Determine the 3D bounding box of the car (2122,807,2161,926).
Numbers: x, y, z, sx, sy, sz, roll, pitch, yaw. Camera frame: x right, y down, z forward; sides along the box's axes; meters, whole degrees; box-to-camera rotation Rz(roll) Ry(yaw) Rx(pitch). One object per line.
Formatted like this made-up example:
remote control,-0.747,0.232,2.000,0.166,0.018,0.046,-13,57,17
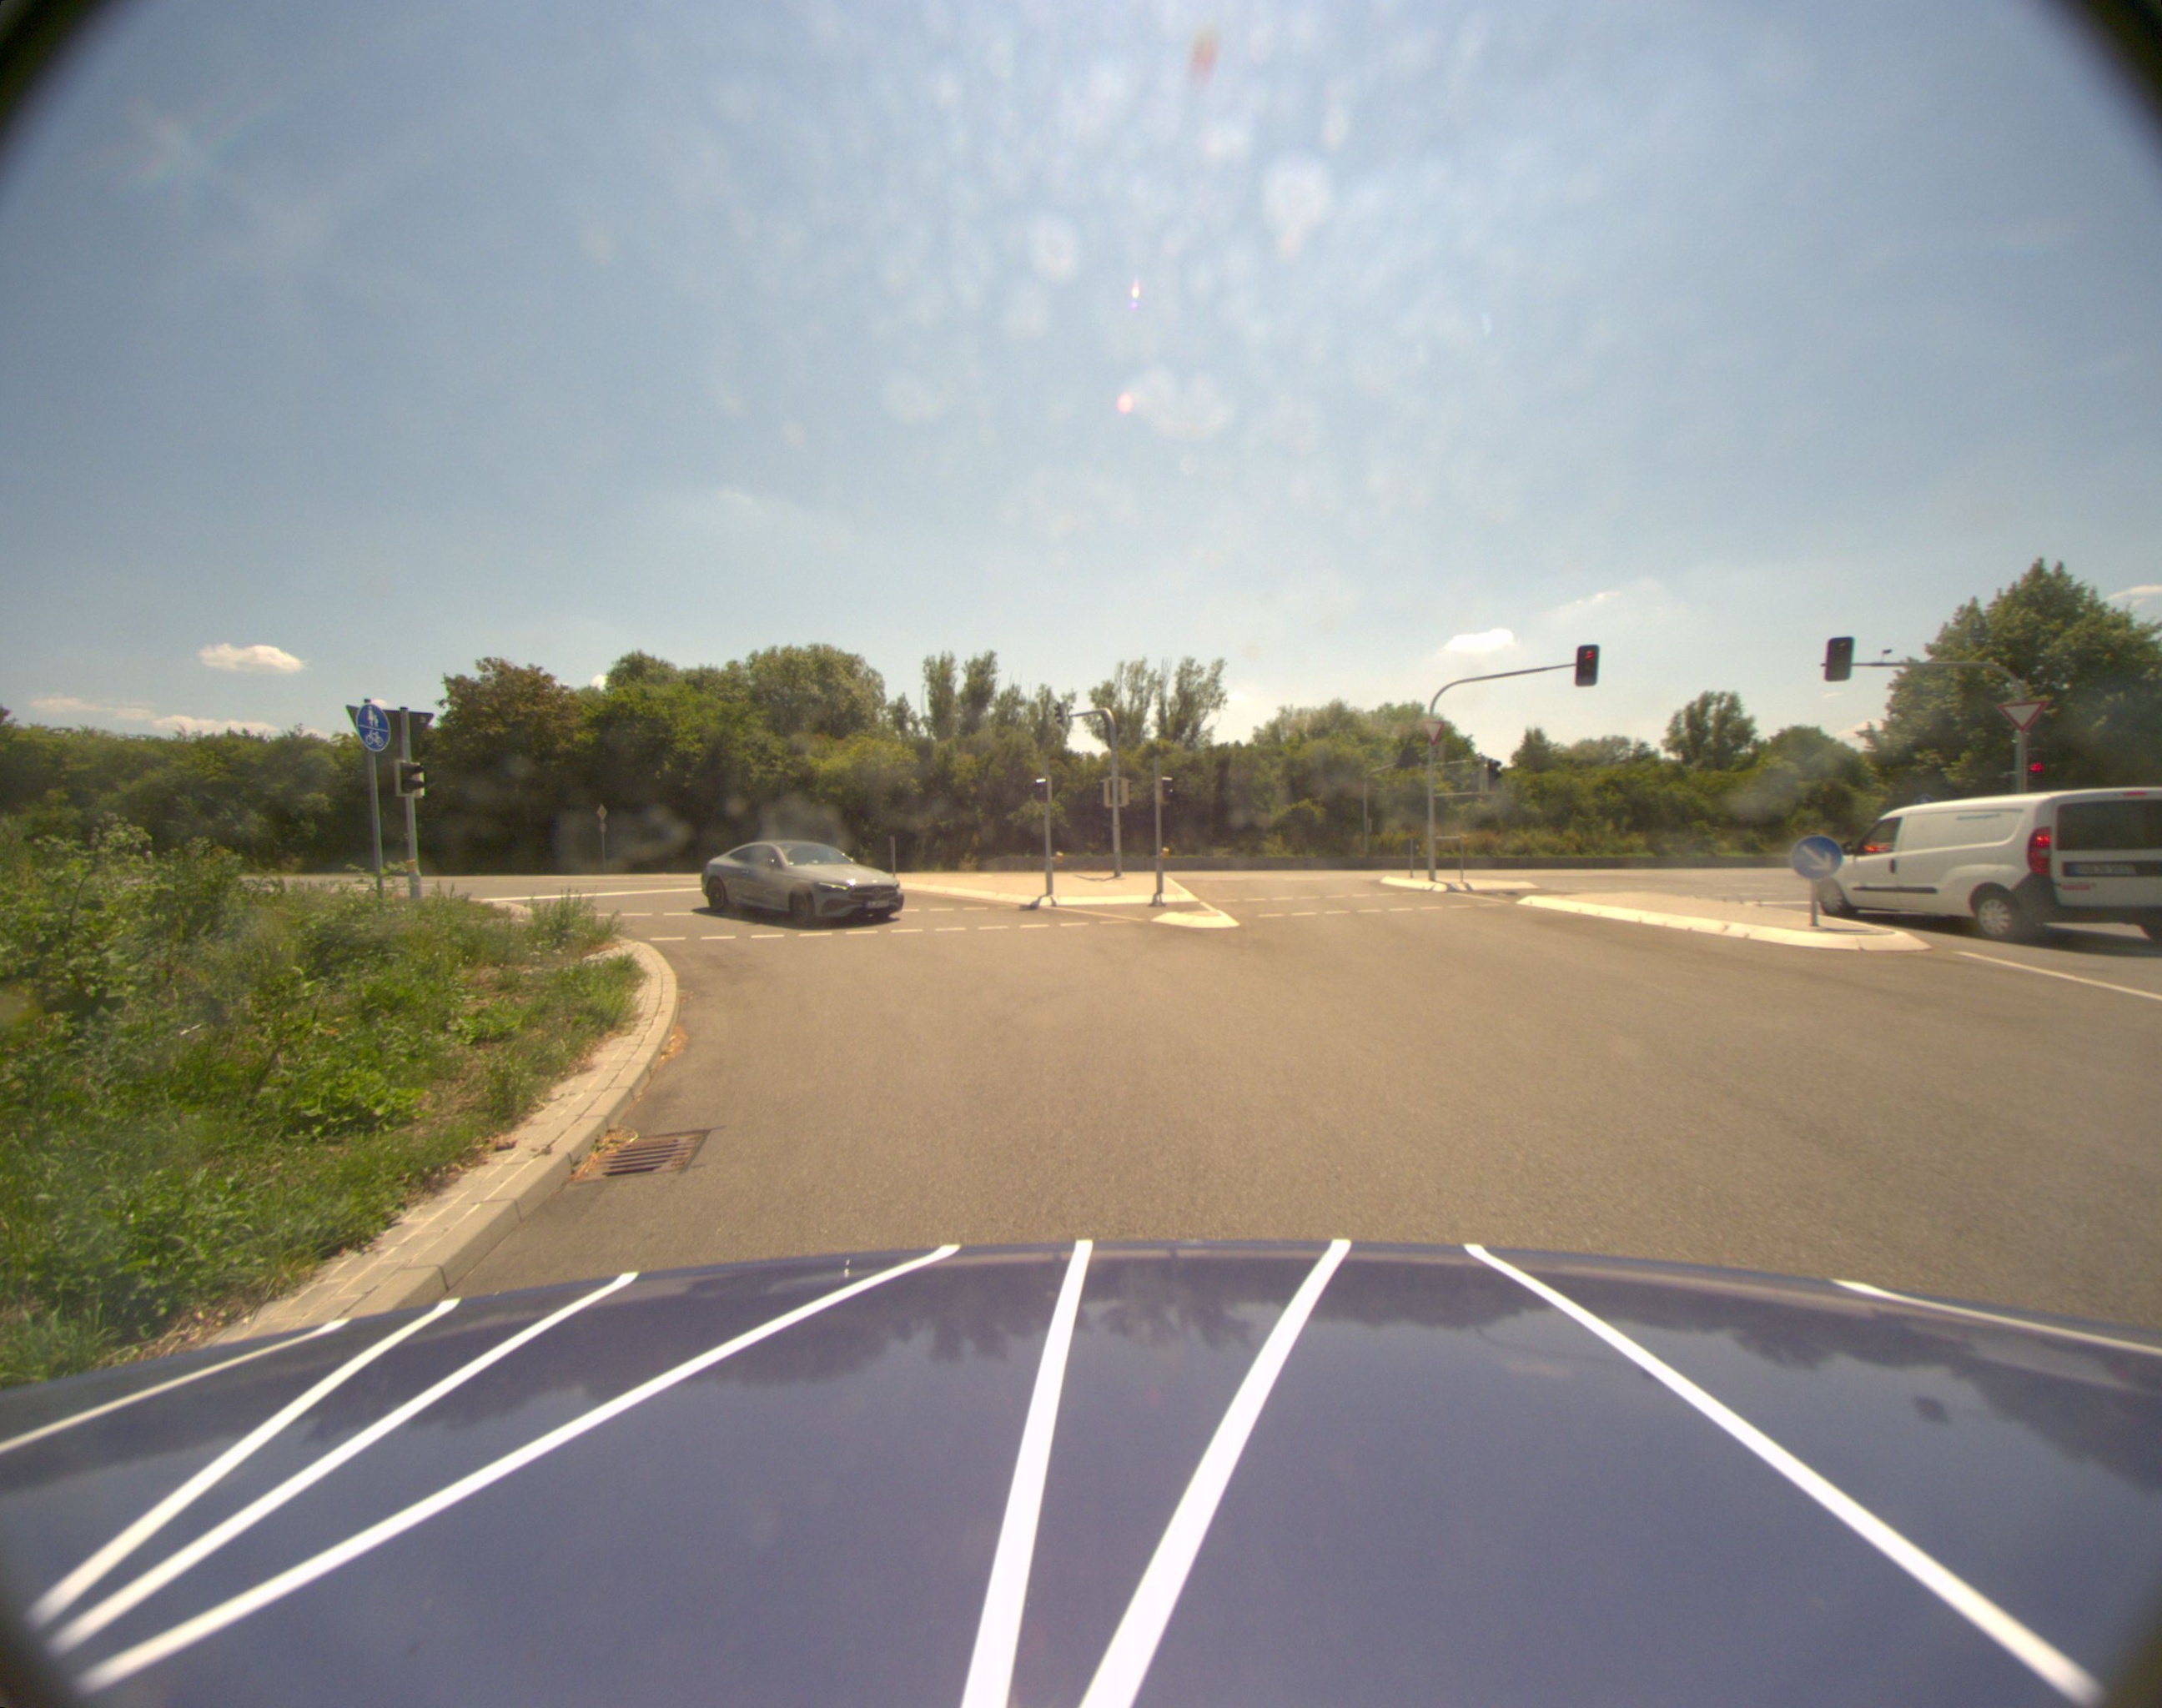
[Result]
car,16.071,0.176,9.297,1.996,1.697,3.868,-4,1,18

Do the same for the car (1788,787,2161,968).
car,12.632,0.177,10.663,1.996,1.932,4.876,-4,1,18

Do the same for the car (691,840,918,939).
car,-5.352,0.541,14.471,4.467,1.434,1.927,3,4,37
